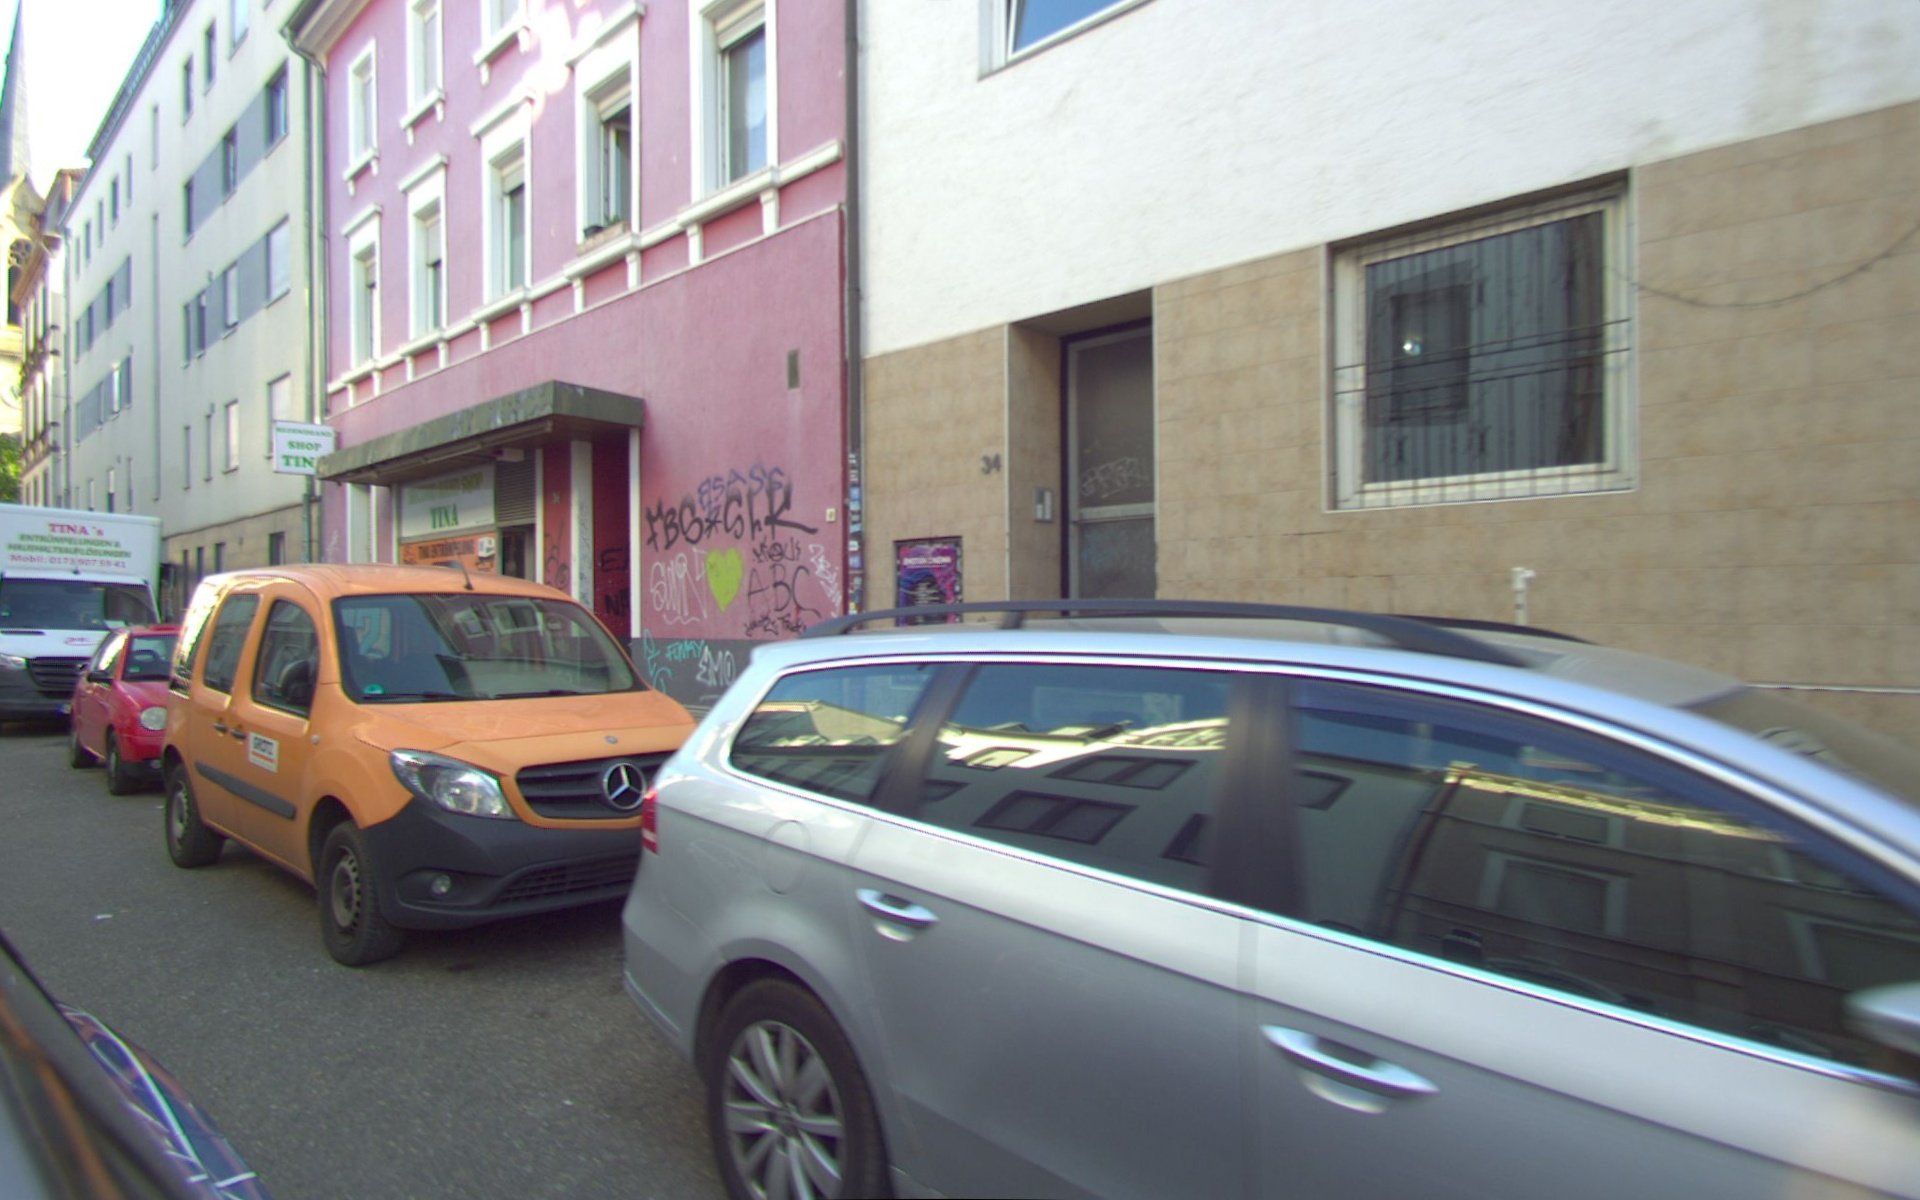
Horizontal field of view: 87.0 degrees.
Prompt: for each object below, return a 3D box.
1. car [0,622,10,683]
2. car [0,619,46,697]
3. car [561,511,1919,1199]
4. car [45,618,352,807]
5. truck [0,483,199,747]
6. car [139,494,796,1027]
[{"bbox_3d":[-25.739,1.291,25.898,3.913,1.502,1.665,-1,-4,41],"label":"car"},{"bbox_3d":[-21.406,1.211,22.082,3.913,1.600,1.665,-1,-4,41],"label":"car"},{"bbox_3d":[1.147,0.695,1.928,4.529,1.508,1.656,-1,-2,41],"label":"car"},{"bbox_3d":[-7.482,0.923,9.830,3.658,1.477,1.665,-1,-2,41],"label":"car"},{"bbox_3d":[-13.698,0.230,15.299,7.044,3.207,2.266,-1,-2,43],"label":"truck"},{"bbox_3d":[-2.967,0.593,5.622,4.242,1.859,1.783,-1,-2,41],"label":"car"}]
